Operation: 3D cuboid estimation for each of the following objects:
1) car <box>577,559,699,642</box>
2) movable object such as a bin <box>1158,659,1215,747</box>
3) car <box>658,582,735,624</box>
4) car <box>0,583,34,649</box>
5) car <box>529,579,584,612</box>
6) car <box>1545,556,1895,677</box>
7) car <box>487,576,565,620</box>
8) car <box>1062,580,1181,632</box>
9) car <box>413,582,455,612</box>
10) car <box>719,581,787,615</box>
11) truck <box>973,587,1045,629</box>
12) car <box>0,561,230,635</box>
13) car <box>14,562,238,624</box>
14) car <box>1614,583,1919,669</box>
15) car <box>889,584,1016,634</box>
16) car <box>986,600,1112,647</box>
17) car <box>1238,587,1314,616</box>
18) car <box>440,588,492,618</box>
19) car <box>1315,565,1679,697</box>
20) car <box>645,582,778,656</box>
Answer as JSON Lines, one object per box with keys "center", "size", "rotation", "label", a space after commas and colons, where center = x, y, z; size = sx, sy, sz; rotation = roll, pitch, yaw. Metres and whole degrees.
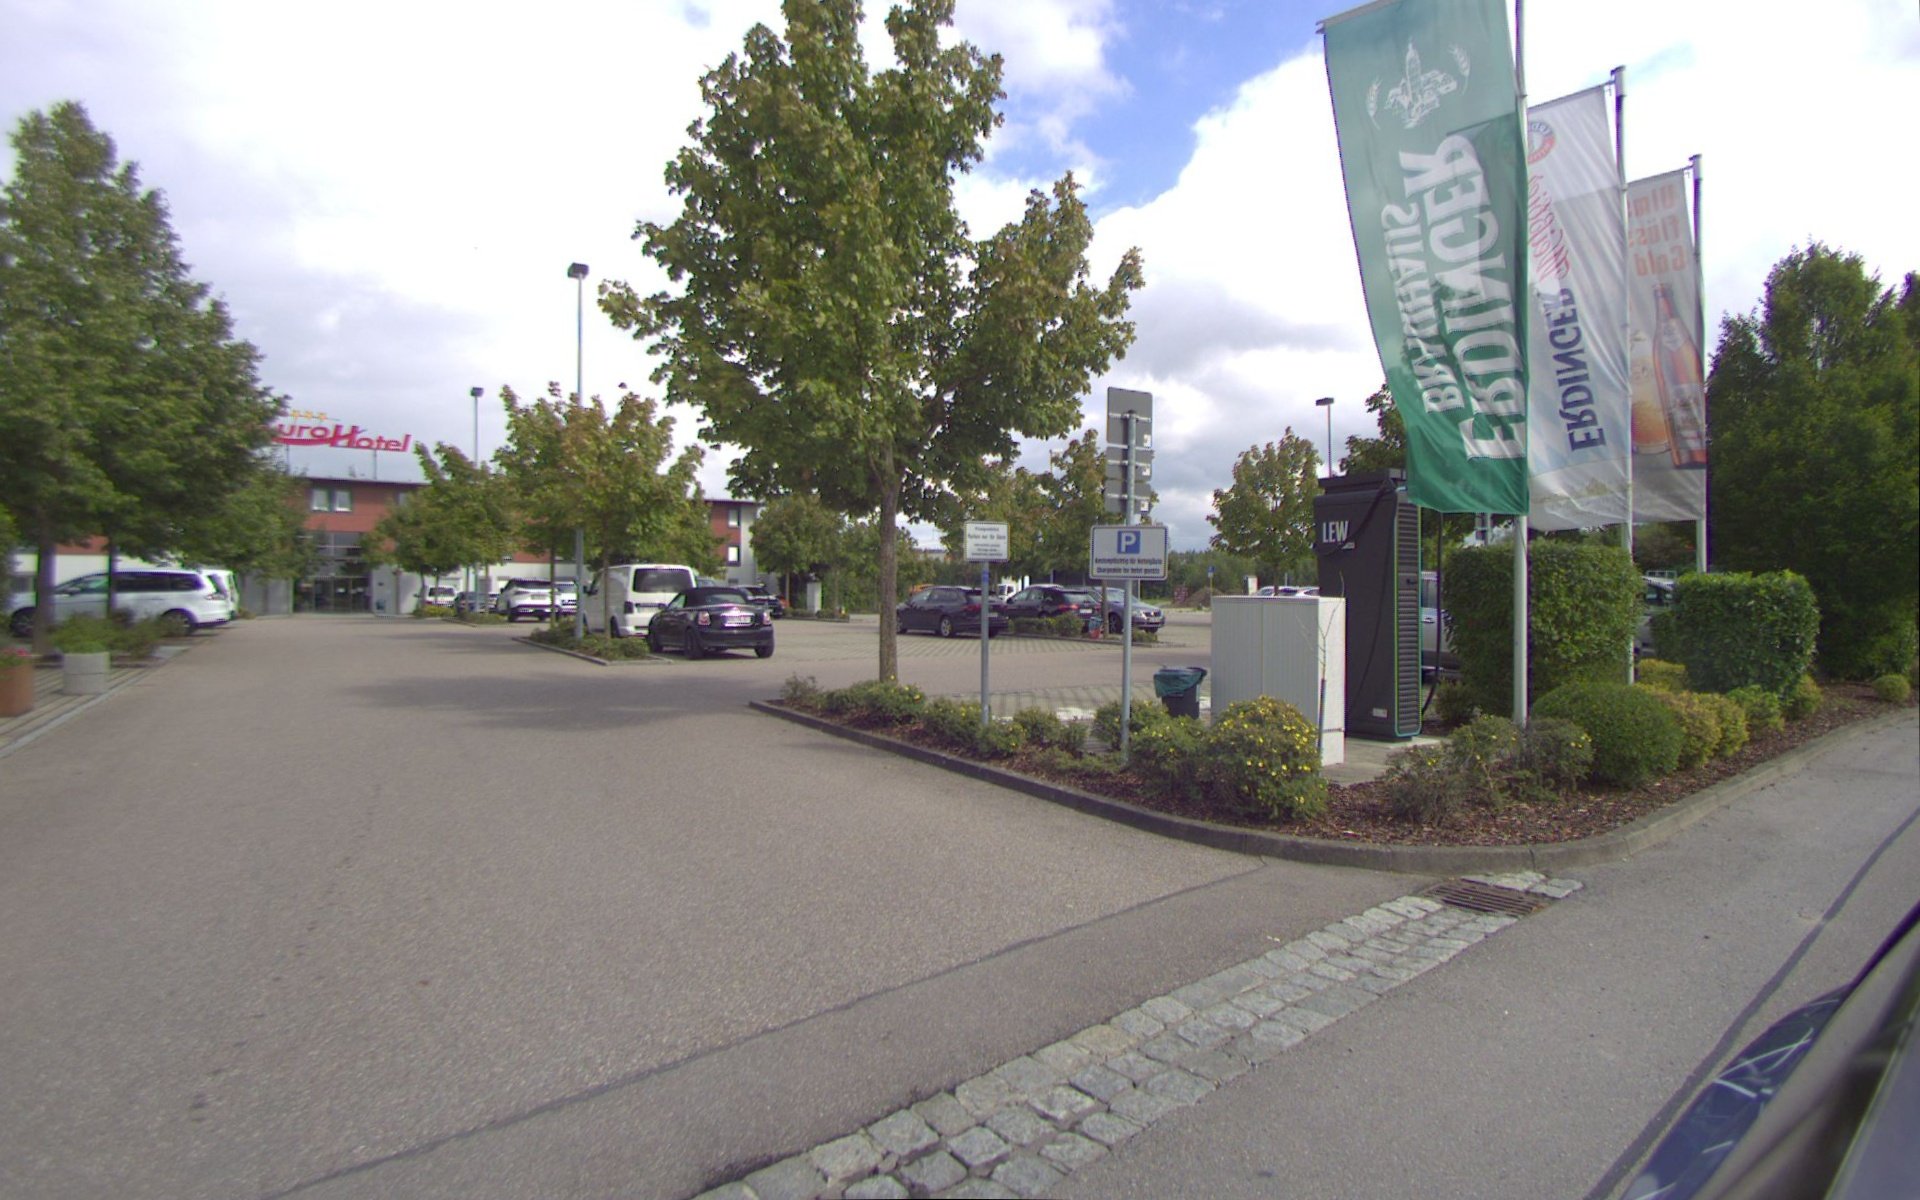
{"center": [-7.976, 0.006, 24.812], "size": [1.733, 1.845, 4.367], "rotation": [0, 0, -33], "label": "car"}
{"center": [1.881, 0.847, 8.418], "size": [0.360, 0.693, 0.289], "rotation": [0, -1, -30], "label": "movable object such as a bin"}
{"center": [-11.034, 0.114, 42.249], "size": [1.735, 1.677, 3.998], "rotation": [0, 0, -37], "label": "car"}
{"center": [-31.485, 0.495, 31.391], "size": [3.929, 2.039, 1.997], "rotation": [0, -1, -40], "label": "car"}
{"center": [-21.863, -0.232, 54.752], "size": [1.735, 1.742, 3.998], "rotation": [0, 0, -37], "label": "car"}
{"center": [12.386, 0.231, 16.813], "size": [1.625, 1.738, 4.365], "rotation": [0, 0, -33], "label": "car"}
{"center": [-16.144, -0.072, 37.571], "size": [1.790, 1.519, 3.844], "rotation": [0, 0, -37], "label": "car"}
{"center": [5.169, 0.195, 32.878], "size": [1.958, 1.591, 4.007], "rotation": [0, 0, -24], "label": "car"}
{"center": [-32.283, -0.169, 62.048], "size": [1.643, 1.804, 3.998], "rotation": [0, 0, -37], "label": "car"}
{"center": [-8.863, -0.081, 43.161], "size": [1.500, 1.391, 3.476], "rotation": [0, 0, -37], "label": "car"}
{"center": [5.141, 0.767, 104.305], "size": [8.401, 4.173, 1.996], "rotation": [0, 0, -42], "label": "truck"}
{"center": [-21.623, -0.044, 25.643], "size": [4.981, 1.733, 1.750], "rotation": [0, 0, -35], "label": "car"}
{"center": [-24.526, -0.192, 30.033], "size": [4.981, 1.733, 1.597], "rotation": [0, 0, -35], "label": "car"}
{"center": [14.382, 0.419, 18.266], "size": [1.693, 1.367, 4.000], "rotation": [0, 0, -35], "label": "car"}
{"center": [-0.298, 0.249, 29.586], "size": [1.688, 1.363, 4.277], "rotation": [0, 0, -33], "label": "car"}
{"center": [2.723, 0.679, 31.816], "size": [1.688, 1.363, 4.277], "rotation": [0, 0, -33], "label": "car"}
{"center": [17.713, 0.075, 56.769], "size": [3.917, 1.538, 1.719], "rotation": [0, 0, -24], "label": "car"}
{"center": [-25.189, 0.162, 51.533], "size": [1.643, 1.447, 3.998], "rotation": [0, 0, -37], "label": "car"}
{"center": [8.013, 0.336, 15.628], "size": [1.880, 1.717, 4.685], "rotation": [-1, 2, -30], "label": "car"}
{"center": [-5.143, 0.358, 20.668], "size": [1.598, 1.368, 3.373], "rotation": [0, 0, -33], "label": "car"}
